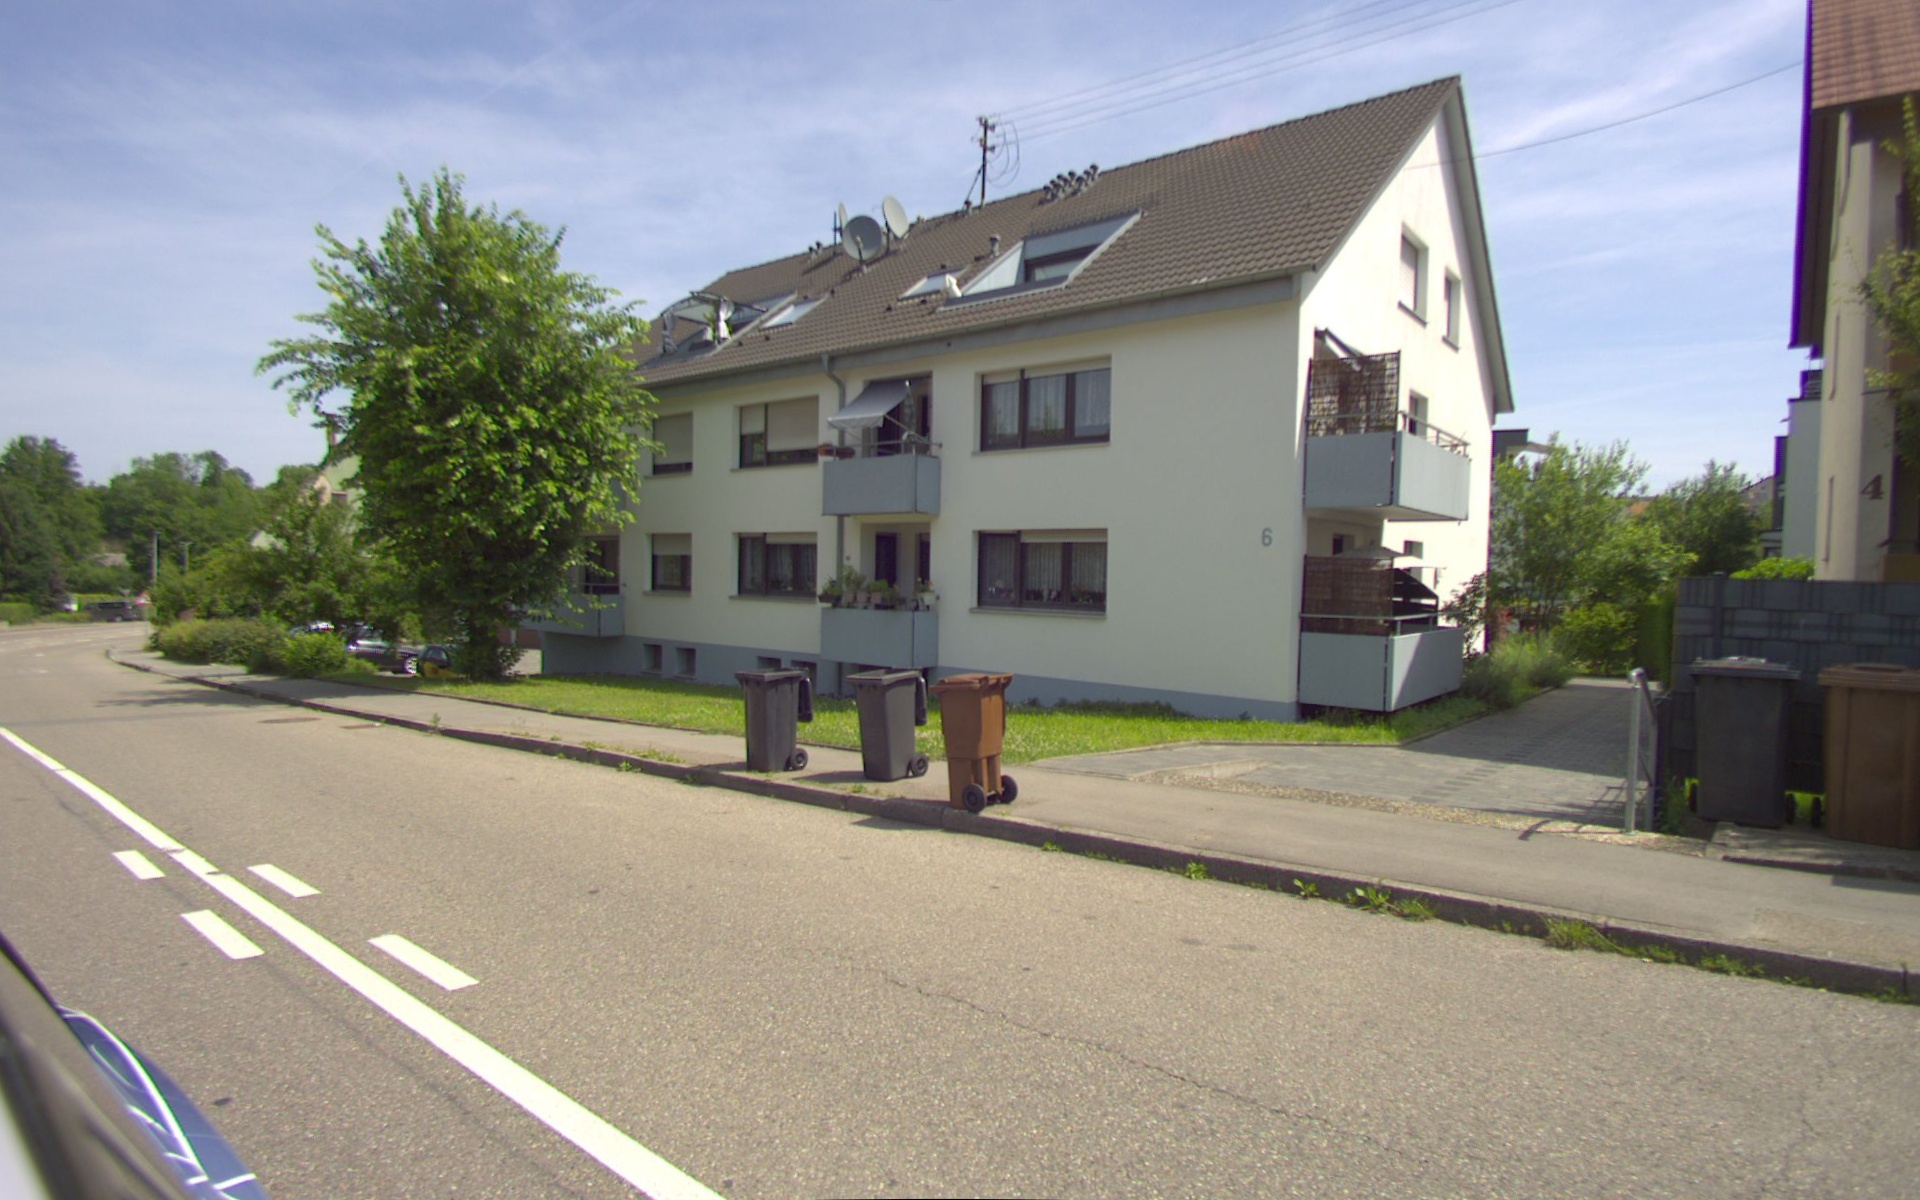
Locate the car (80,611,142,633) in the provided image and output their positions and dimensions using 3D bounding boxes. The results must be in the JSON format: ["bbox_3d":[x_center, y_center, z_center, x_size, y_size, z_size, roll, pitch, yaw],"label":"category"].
[{"bbox_3d":[-77.793,2.008,92.783,3.844,1.964,1.961,0,-1,-16],"label":"car"}]

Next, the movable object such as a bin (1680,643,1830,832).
[{"bbox_3d":[5.103,0.842,6.501,0.595,1.104,0.651,1,-1,-42],"label":"movable object such as a bin"}]

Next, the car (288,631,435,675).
[{"bbox_3d":[-20.261,1.816,34.353,1.645,1.256,3.915,-1,-6,41],"label":"car"}]

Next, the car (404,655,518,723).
[{"bbox_3d":[-13.946,2.432,28.234,3.226,1.551,1.458,2,0,35],"label":"car"}]

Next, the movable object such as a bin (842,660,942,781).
[{"bbox_3d":[-0.572,0.984,8.477,0.556,0.924,0.643,1,-2,-42],"label":"movable object such as a bin"}]

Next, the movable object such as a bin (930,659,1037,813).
[{"bbox_3d":[0.165,0.927,7.129,0.500,0.995,0.564,0,-1,-42],"label":"movable object such as a bin"}]

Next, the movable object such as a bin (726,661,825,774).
[{"bbox_3d":[-1.660,1.029,9.105,0.612,0.924,0.687,1,-2,-42],"label":"movable object such as a bin"}]

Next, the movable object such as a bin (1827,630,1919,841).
[{"bbox_3d":[5.612,0.777,5.980,0.540,1.187,0.674,1,-2,-43],"label":"movable object such as a bin"}]
